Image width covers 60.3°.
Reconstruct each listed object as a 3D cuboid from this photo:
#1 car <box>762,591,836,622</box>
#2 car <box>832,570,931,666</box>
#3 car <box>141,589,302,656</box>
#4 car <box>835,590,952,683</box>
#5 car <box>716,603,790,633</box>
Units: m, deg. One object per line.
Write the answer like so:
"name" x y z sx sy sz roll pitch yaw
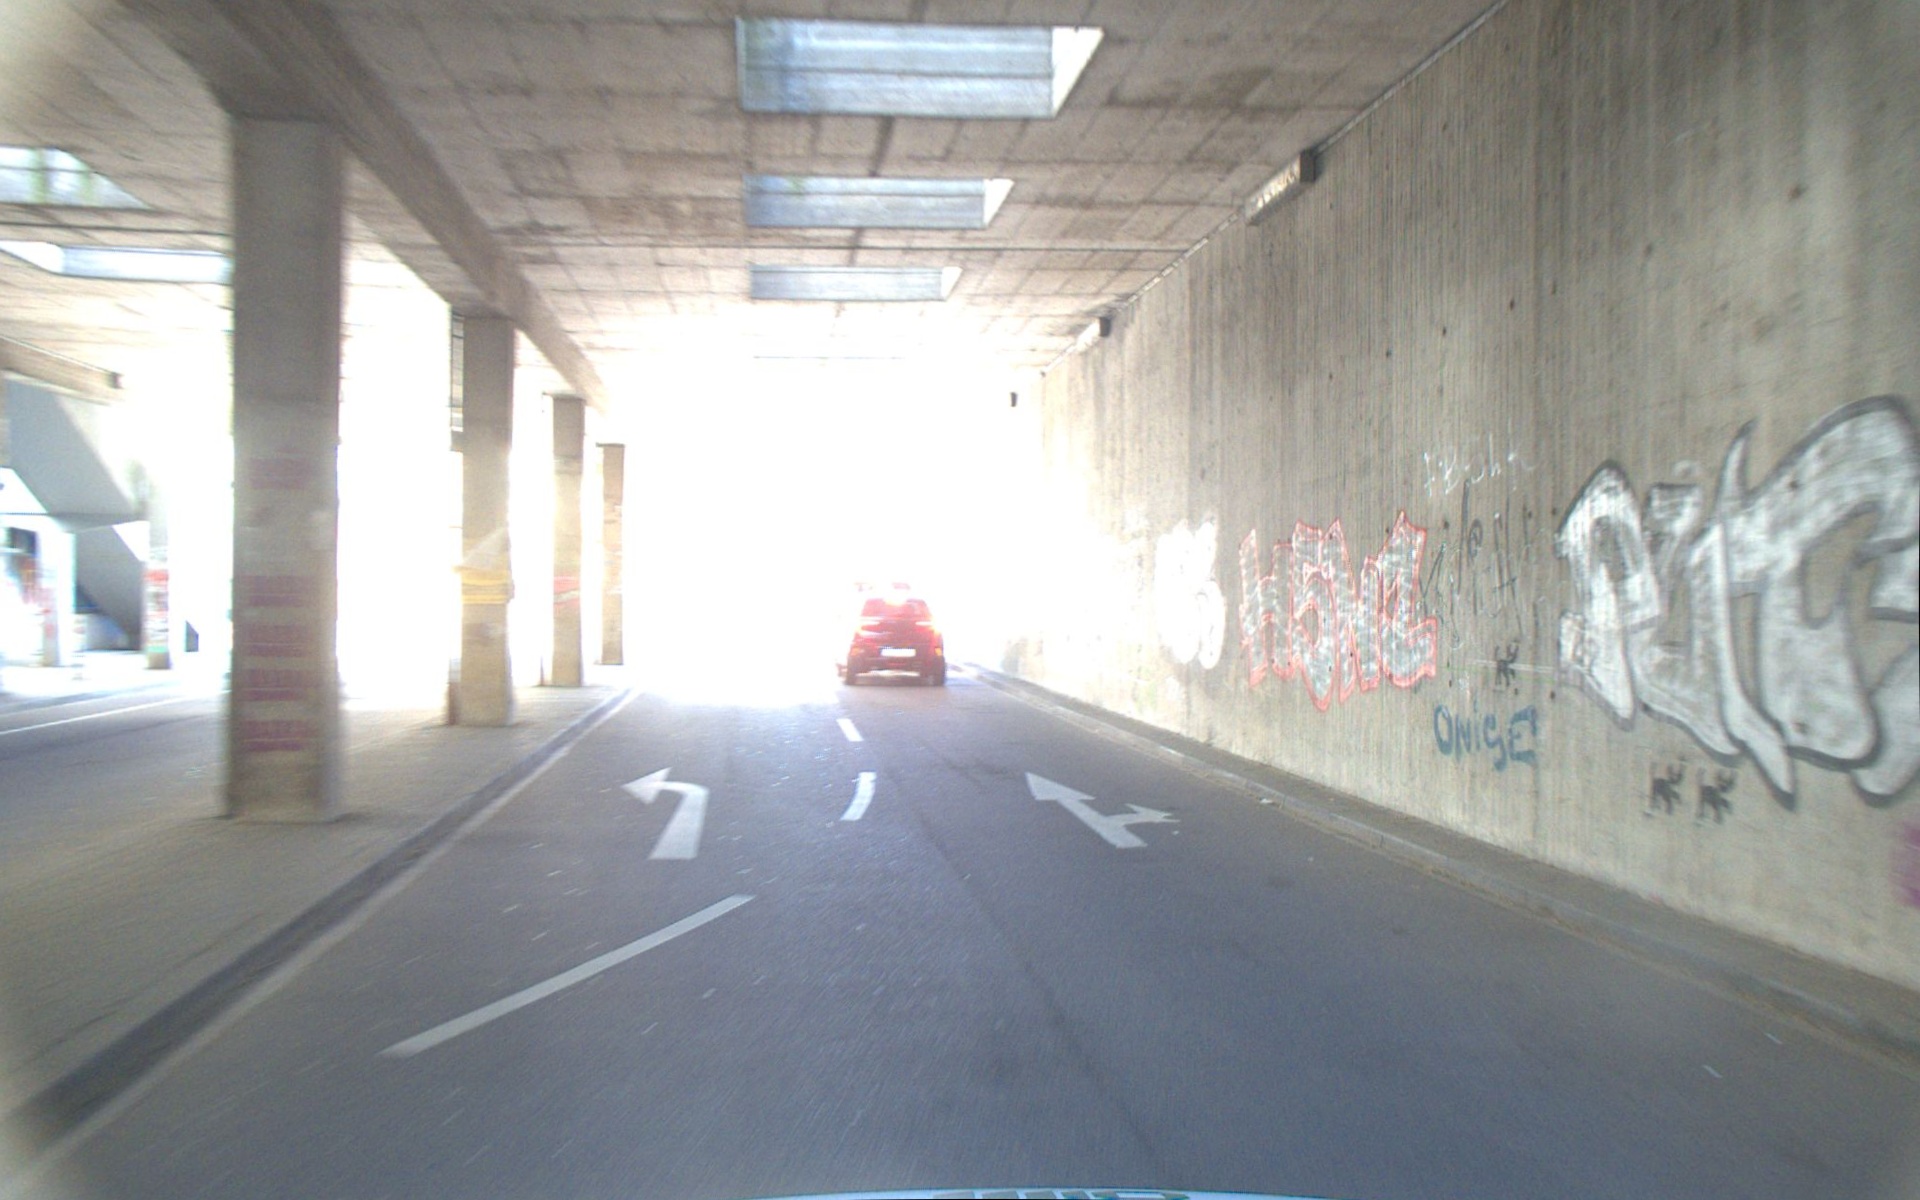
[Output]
"car" -9.303 0.379 95.584 4.065 1.769 2.000 0 0 0
"car" -1.743 0.350 35.467 1.780 1.915 4.578 0 0 -7
"car" -24.100 0.728 54.121 4.394 2.048 1.998 0 2 -7
"car" -1.252 0.590 29.274 1.791 1.527 4.205 0 0 -6
"car" -11.391 0.973 91.157 3.907 1.601 1.639 0 0 -3
